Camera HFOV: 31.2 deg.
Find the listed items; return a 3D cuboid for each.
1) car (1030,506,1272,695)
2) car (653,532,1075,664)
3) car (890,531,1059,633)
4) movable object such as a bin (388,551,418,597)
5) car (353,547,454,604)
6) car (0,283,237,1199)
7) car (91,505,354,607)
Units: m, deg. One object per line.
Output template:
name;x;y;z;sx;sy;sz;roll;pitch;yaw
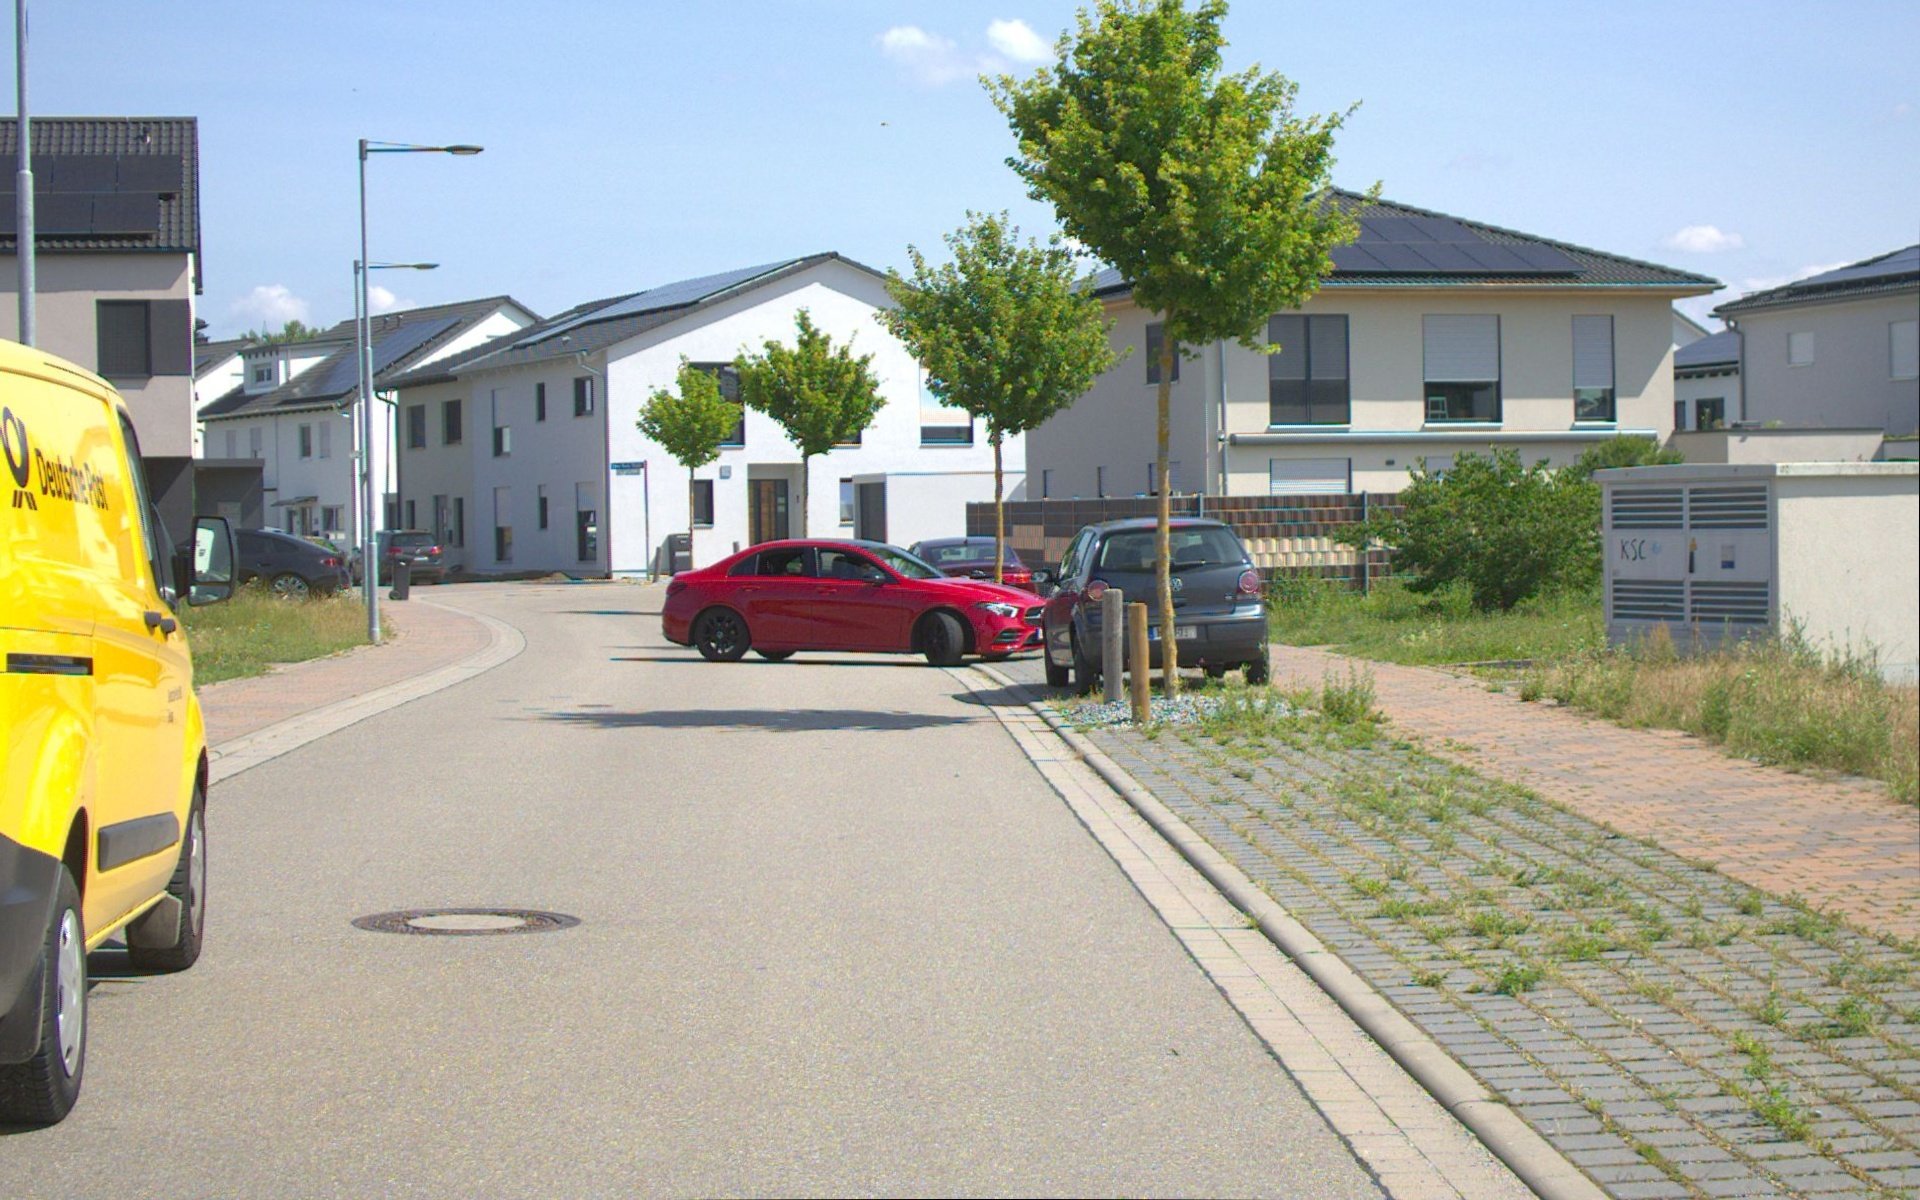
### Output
car;1.594;-0.039;29.806;1.598;1.470;3.675;-3;1;-4
car;-1.107;-0.058;39.503;4.510;1.433;1.766;1;1;22
car;0.153;-0.292;48.713;1.754;1.358;4.577;0;1;-8
movable object such as a bin;-11.429;-0.540;70.535;0.534;0.933;0.526;1;1;-2
car;-14.611;-0.648;90.181;1.726;1.418;4.001;-2;1;-22
car;-3.268;0.277;9.815;1.883;2.007;4.842;-1;1;-6
car;-12.829;-0.762;59.990;4.374;1.626;1.771;2;1;-11
